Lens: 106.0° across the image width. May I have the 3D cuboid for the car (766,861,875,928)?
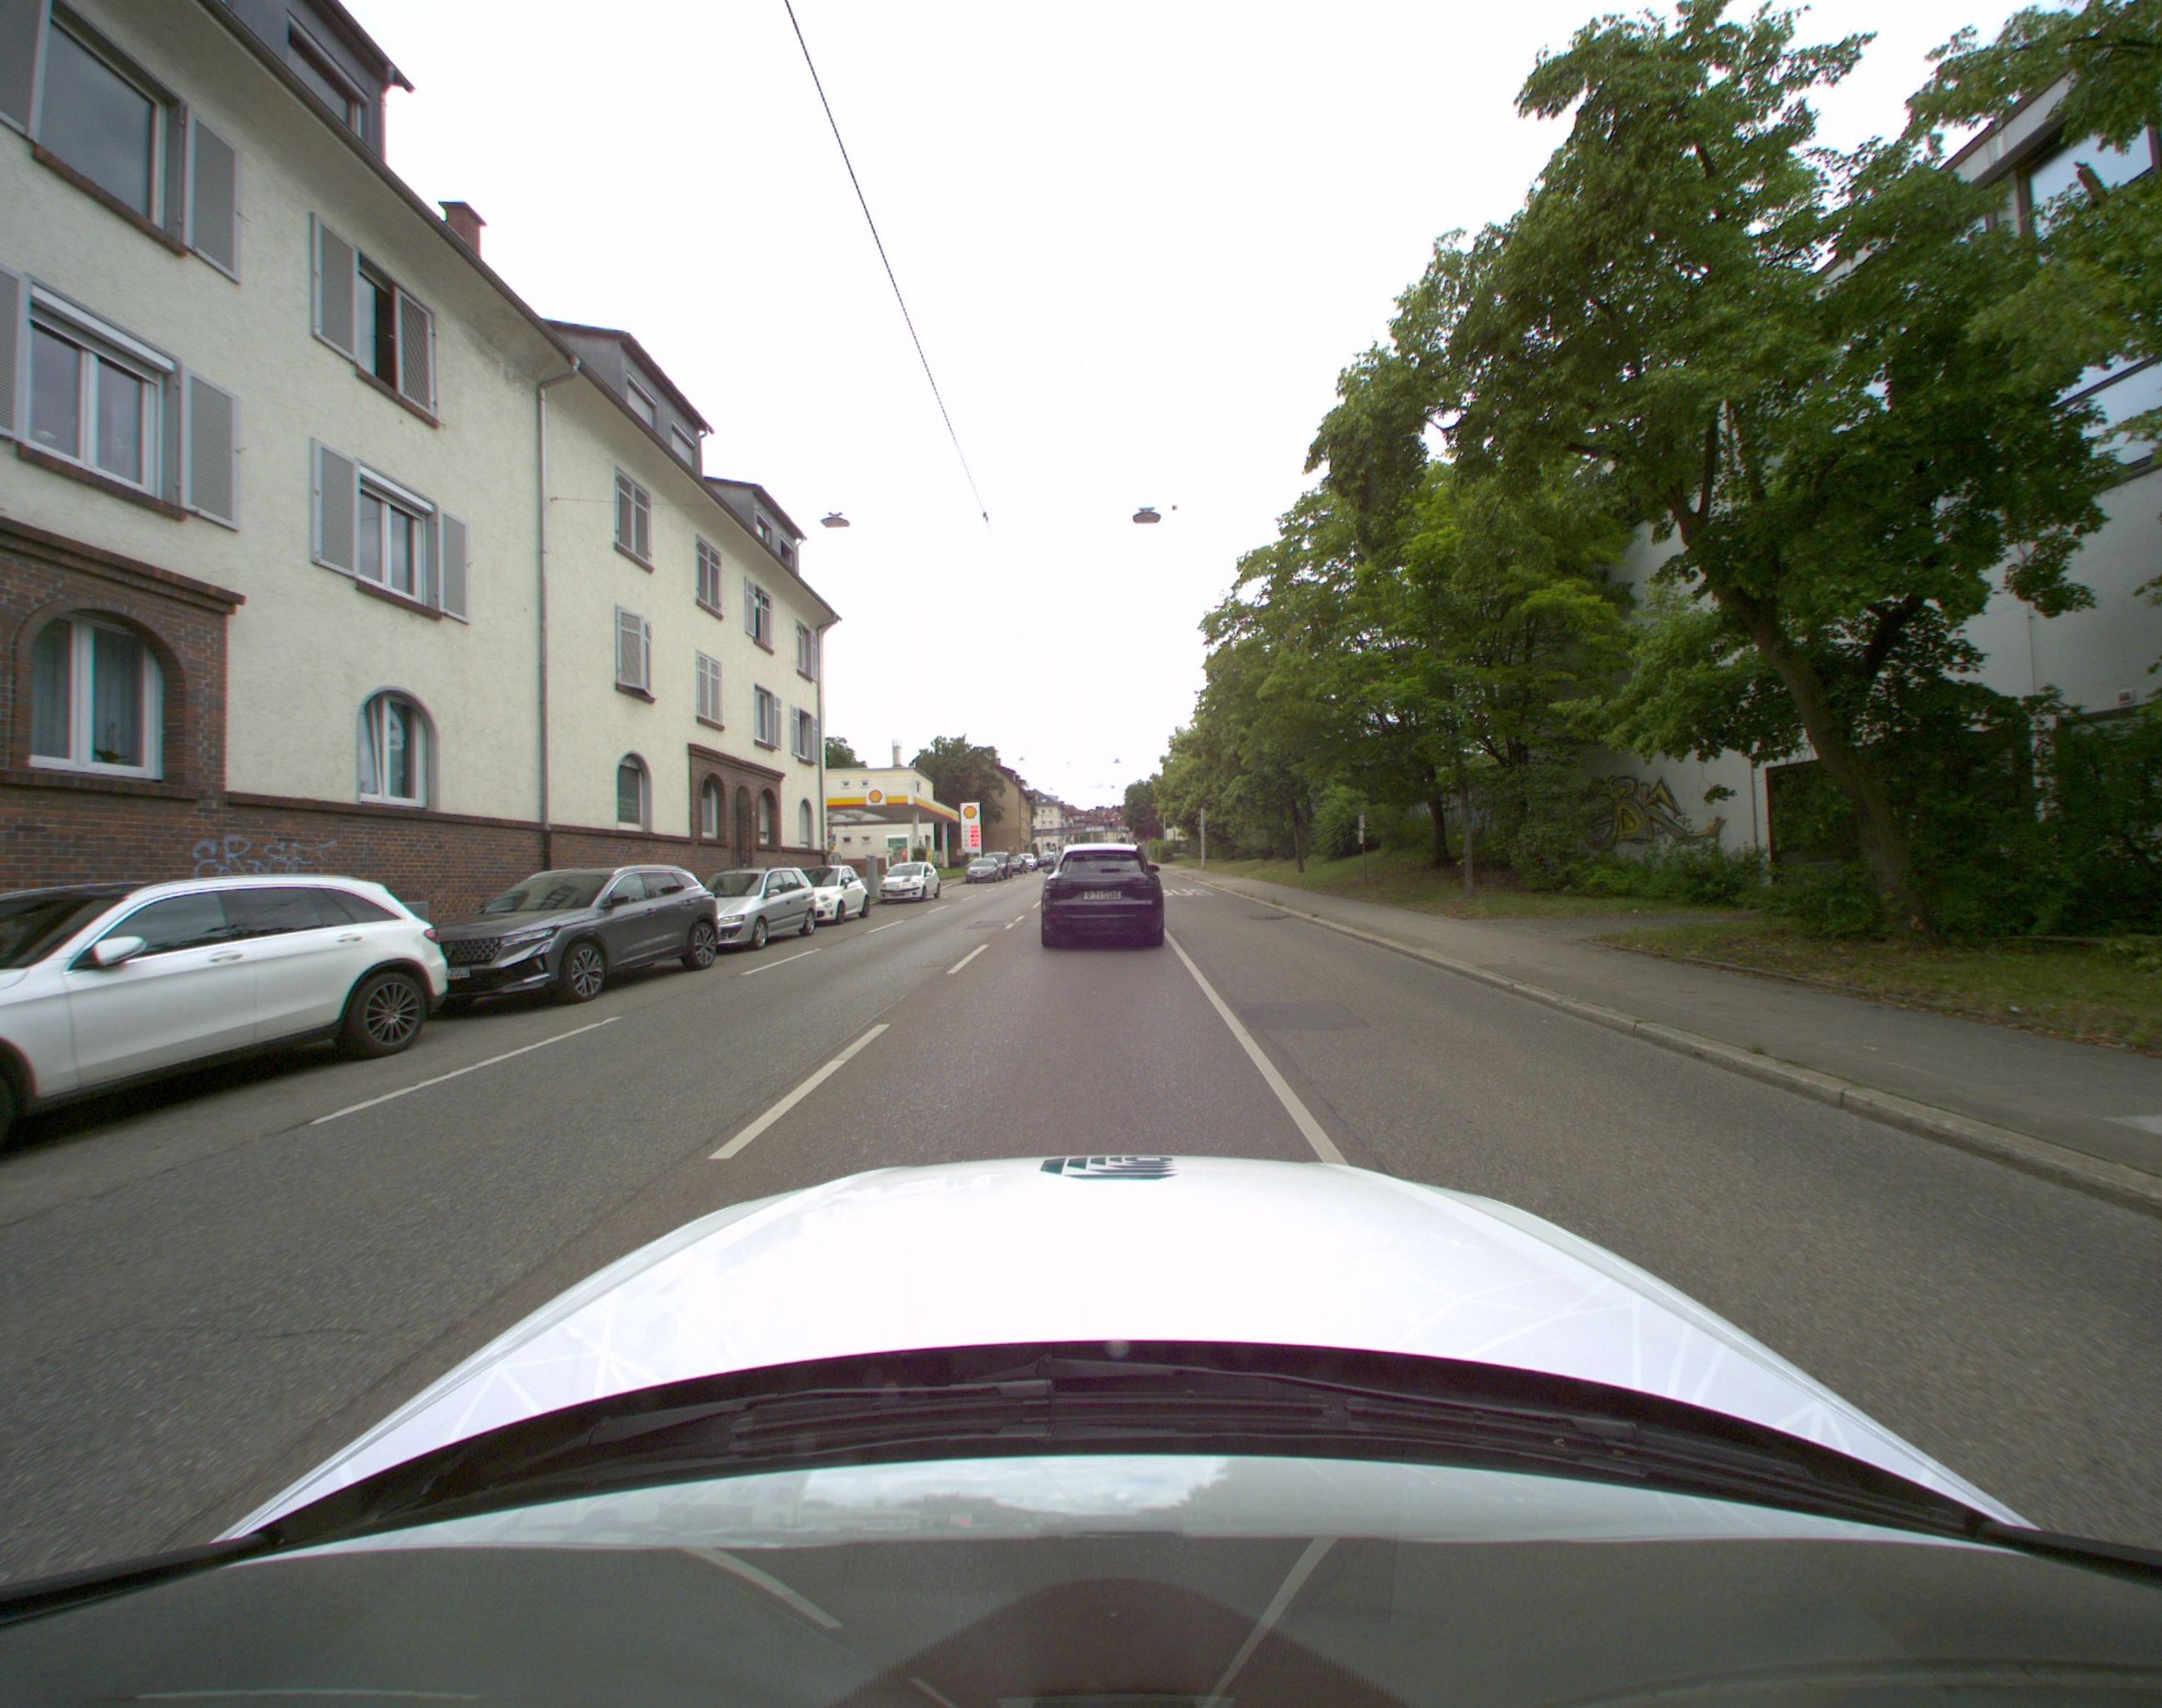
[{"bbox_3d":[-6.707,0.992,21.334,1.542,1.475,3.605,-3,0,1],"label":"car"}]

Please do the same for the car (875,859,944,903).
[{"bbox_3d":[-6.382,0.967,30.649,1.613,1.425,3.667,-3,0,2],"label":"car"}]

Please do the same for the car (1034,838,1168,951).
[{"bbox_3d":[0.368,0.582,14.298,1.986,1.662,4.002,-1,1,2],"label":"car"}]

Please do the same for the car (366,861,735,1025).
[{"bbox_3d":[-6.639,0.976,10.956,1.719,1.599,4.506,-3,0,4],"label":"car"}]

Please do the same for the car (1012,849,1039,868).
[{"bbox_3d":[-5.047,0.414,74.893,1.908,1.577,4.702,-3,0,2],"label":"car"}]

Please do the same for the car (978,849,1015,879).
[{"bbox_3d":[-5.574,0.623,54.373,1.845,1.835,4.701,-3,0,0],"label":"car"}]

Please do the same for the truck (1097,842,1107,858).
[{"bbox_3d":[4.974,-0.903,190.795,2.258,3.424,9.881,-2,0,1],"label":"truck"}]

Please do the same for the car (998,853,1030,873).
[{"bbox_3d":[-5.356,0.734,65.744,1.790,1.431,4.748,-3,0,4],"label":"car"}]

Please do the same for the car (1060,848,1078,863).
[{"bbox_3d":[-1.279,0.176,88.969,1.791,1.525,4.002,-3,0,2],"label":"car"}]

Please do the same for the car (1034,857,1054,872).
[{"bbox_3d":[-4.387,1.236,96.667,1.776,1.609,4.268,-4,0,3],"label":"car"}]

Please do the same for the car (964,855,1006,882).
[{"bbox_3d":[-5.677,0.830,48.693,1.784,1.449,4.220,-3,0,2],"label":"car"}]

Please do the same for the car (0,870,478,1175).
[{"bbox_3d":[-7.034,1.033,5.844,1.839,1.621,4.644,-3,0,1],"label":"car"}]

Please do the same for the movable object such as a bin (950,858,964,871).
[{"bbox_3d":[-14.390,1.236,94.649,1.388,1.428,0.913,-1,0,-1],"label":"movable object such as a bin"}]

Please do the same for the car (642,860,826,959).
[{"bbox_3d":[-6.656,0.977,16.171,1.721,1.558,4.082,-4,0,1],"label":"car"}]

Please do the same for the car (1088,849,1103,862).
[{"bbox_3d":[1.728,0.177,96.389,1.734,1.400,4.002,-1,1,2],"label":"car"}]
